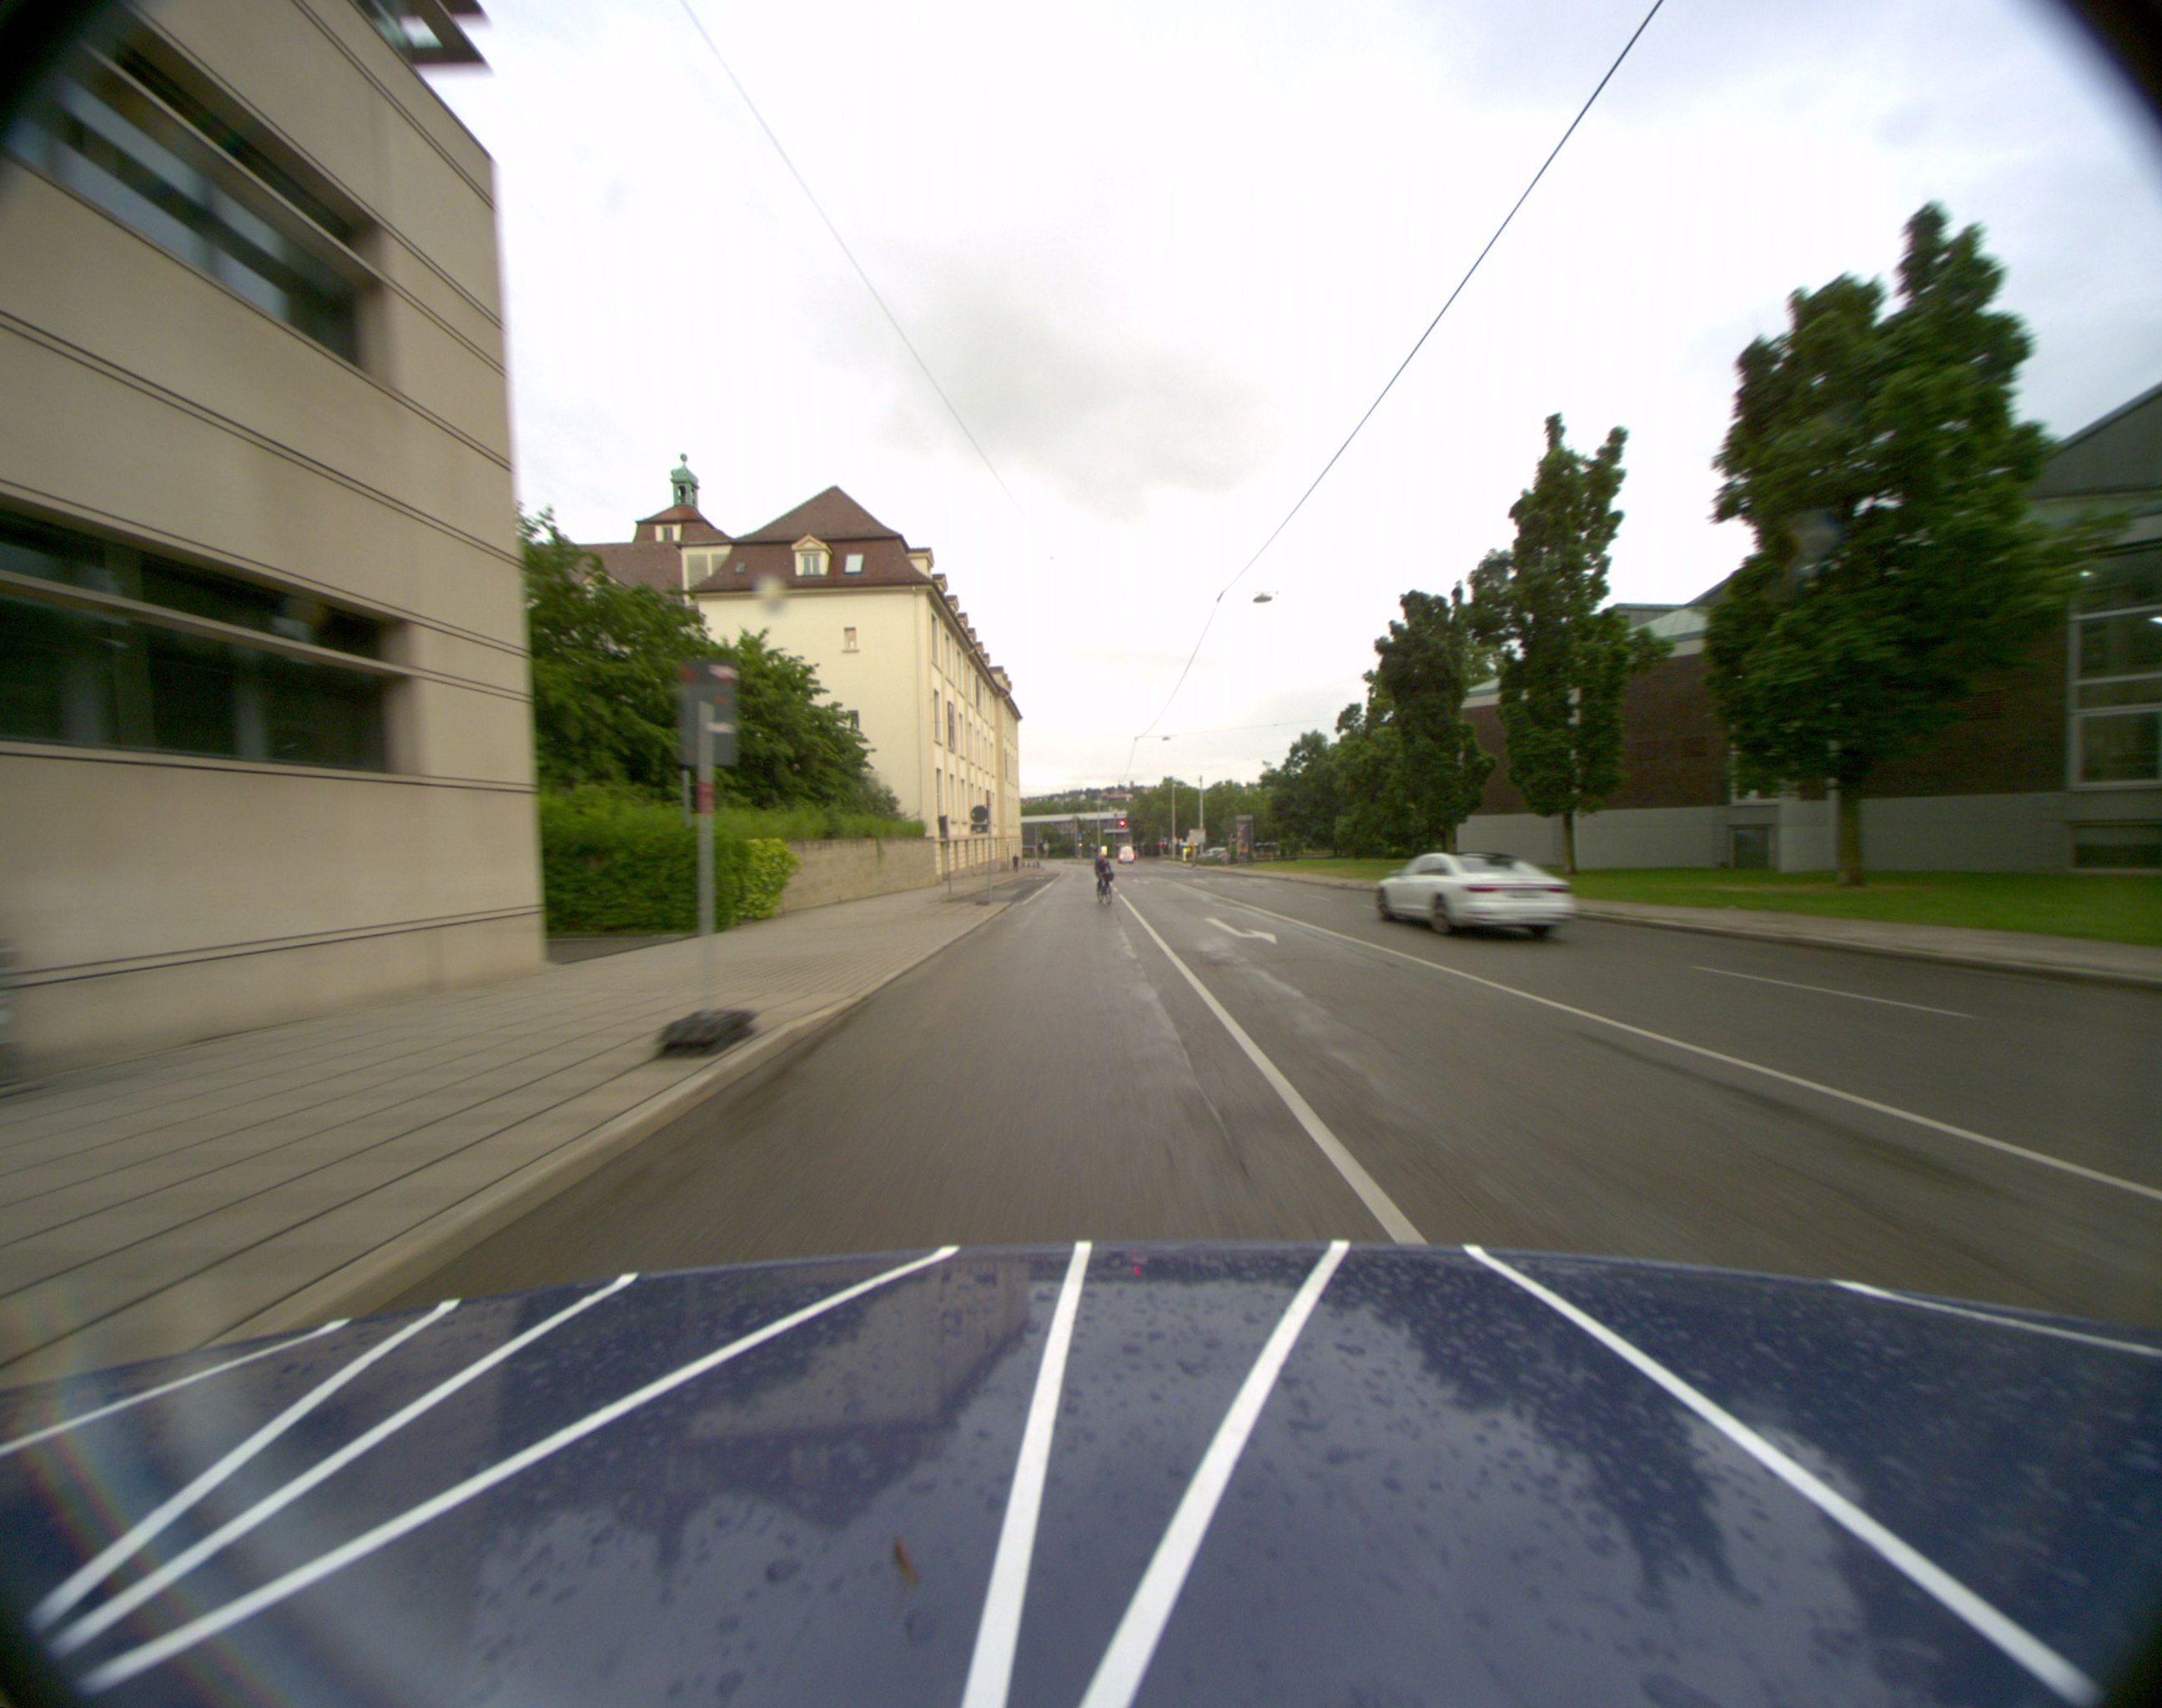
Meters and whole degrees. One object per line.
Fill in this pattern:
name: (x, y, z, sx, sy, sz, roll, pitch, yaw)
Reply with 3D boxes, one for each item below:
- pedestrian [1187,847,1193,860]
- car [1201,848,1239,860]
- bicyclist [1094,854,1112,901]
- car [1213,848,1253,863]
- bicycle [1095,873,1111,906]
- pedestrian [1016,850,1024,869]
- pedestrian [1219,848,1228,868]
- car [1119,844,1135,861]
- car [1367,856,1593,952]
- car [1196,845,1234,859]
pedestrian: (14.665, -0.076, 102.109, 0.629, 1.686, 0.642, -3, 2, -7)
car: (17.760, -0.025, 97.236, 4.369, 1.341, 1.908, -2, 1, 30)
bicyclist: (0.700, 0.724, 24.098, 0.485, 1.425, 0.930, -2, 1, 3)
car: (17.591, 0.233, 87.918, 1.871, 1.600, 4.515, -3, 1, -33)
bicycle: (0.703, 1.119, 24.155, 0.448, 0.957, 1.690, -2, 0, 3)
pedestrian: (-5.532, 0.498, 69.095, 0.671, 1.787, 0.852, 0, 1, 2)
pedestrian: (12.526, 0.333, 66.708, 0.671, 1.677, 0.913, -2, 1, 8)
car: (7.183, -0.238, 118.338, 1.988, 2.514, 5.630, -1, 0, -1)
car: (7.391, 0.814, 14.823, 1.886, 1.482, 5.220, 1, 0, 3)
car: (18.419, -0.288, 104.741, 4.710, 1.745, 2.020, -2, 1, 42)
